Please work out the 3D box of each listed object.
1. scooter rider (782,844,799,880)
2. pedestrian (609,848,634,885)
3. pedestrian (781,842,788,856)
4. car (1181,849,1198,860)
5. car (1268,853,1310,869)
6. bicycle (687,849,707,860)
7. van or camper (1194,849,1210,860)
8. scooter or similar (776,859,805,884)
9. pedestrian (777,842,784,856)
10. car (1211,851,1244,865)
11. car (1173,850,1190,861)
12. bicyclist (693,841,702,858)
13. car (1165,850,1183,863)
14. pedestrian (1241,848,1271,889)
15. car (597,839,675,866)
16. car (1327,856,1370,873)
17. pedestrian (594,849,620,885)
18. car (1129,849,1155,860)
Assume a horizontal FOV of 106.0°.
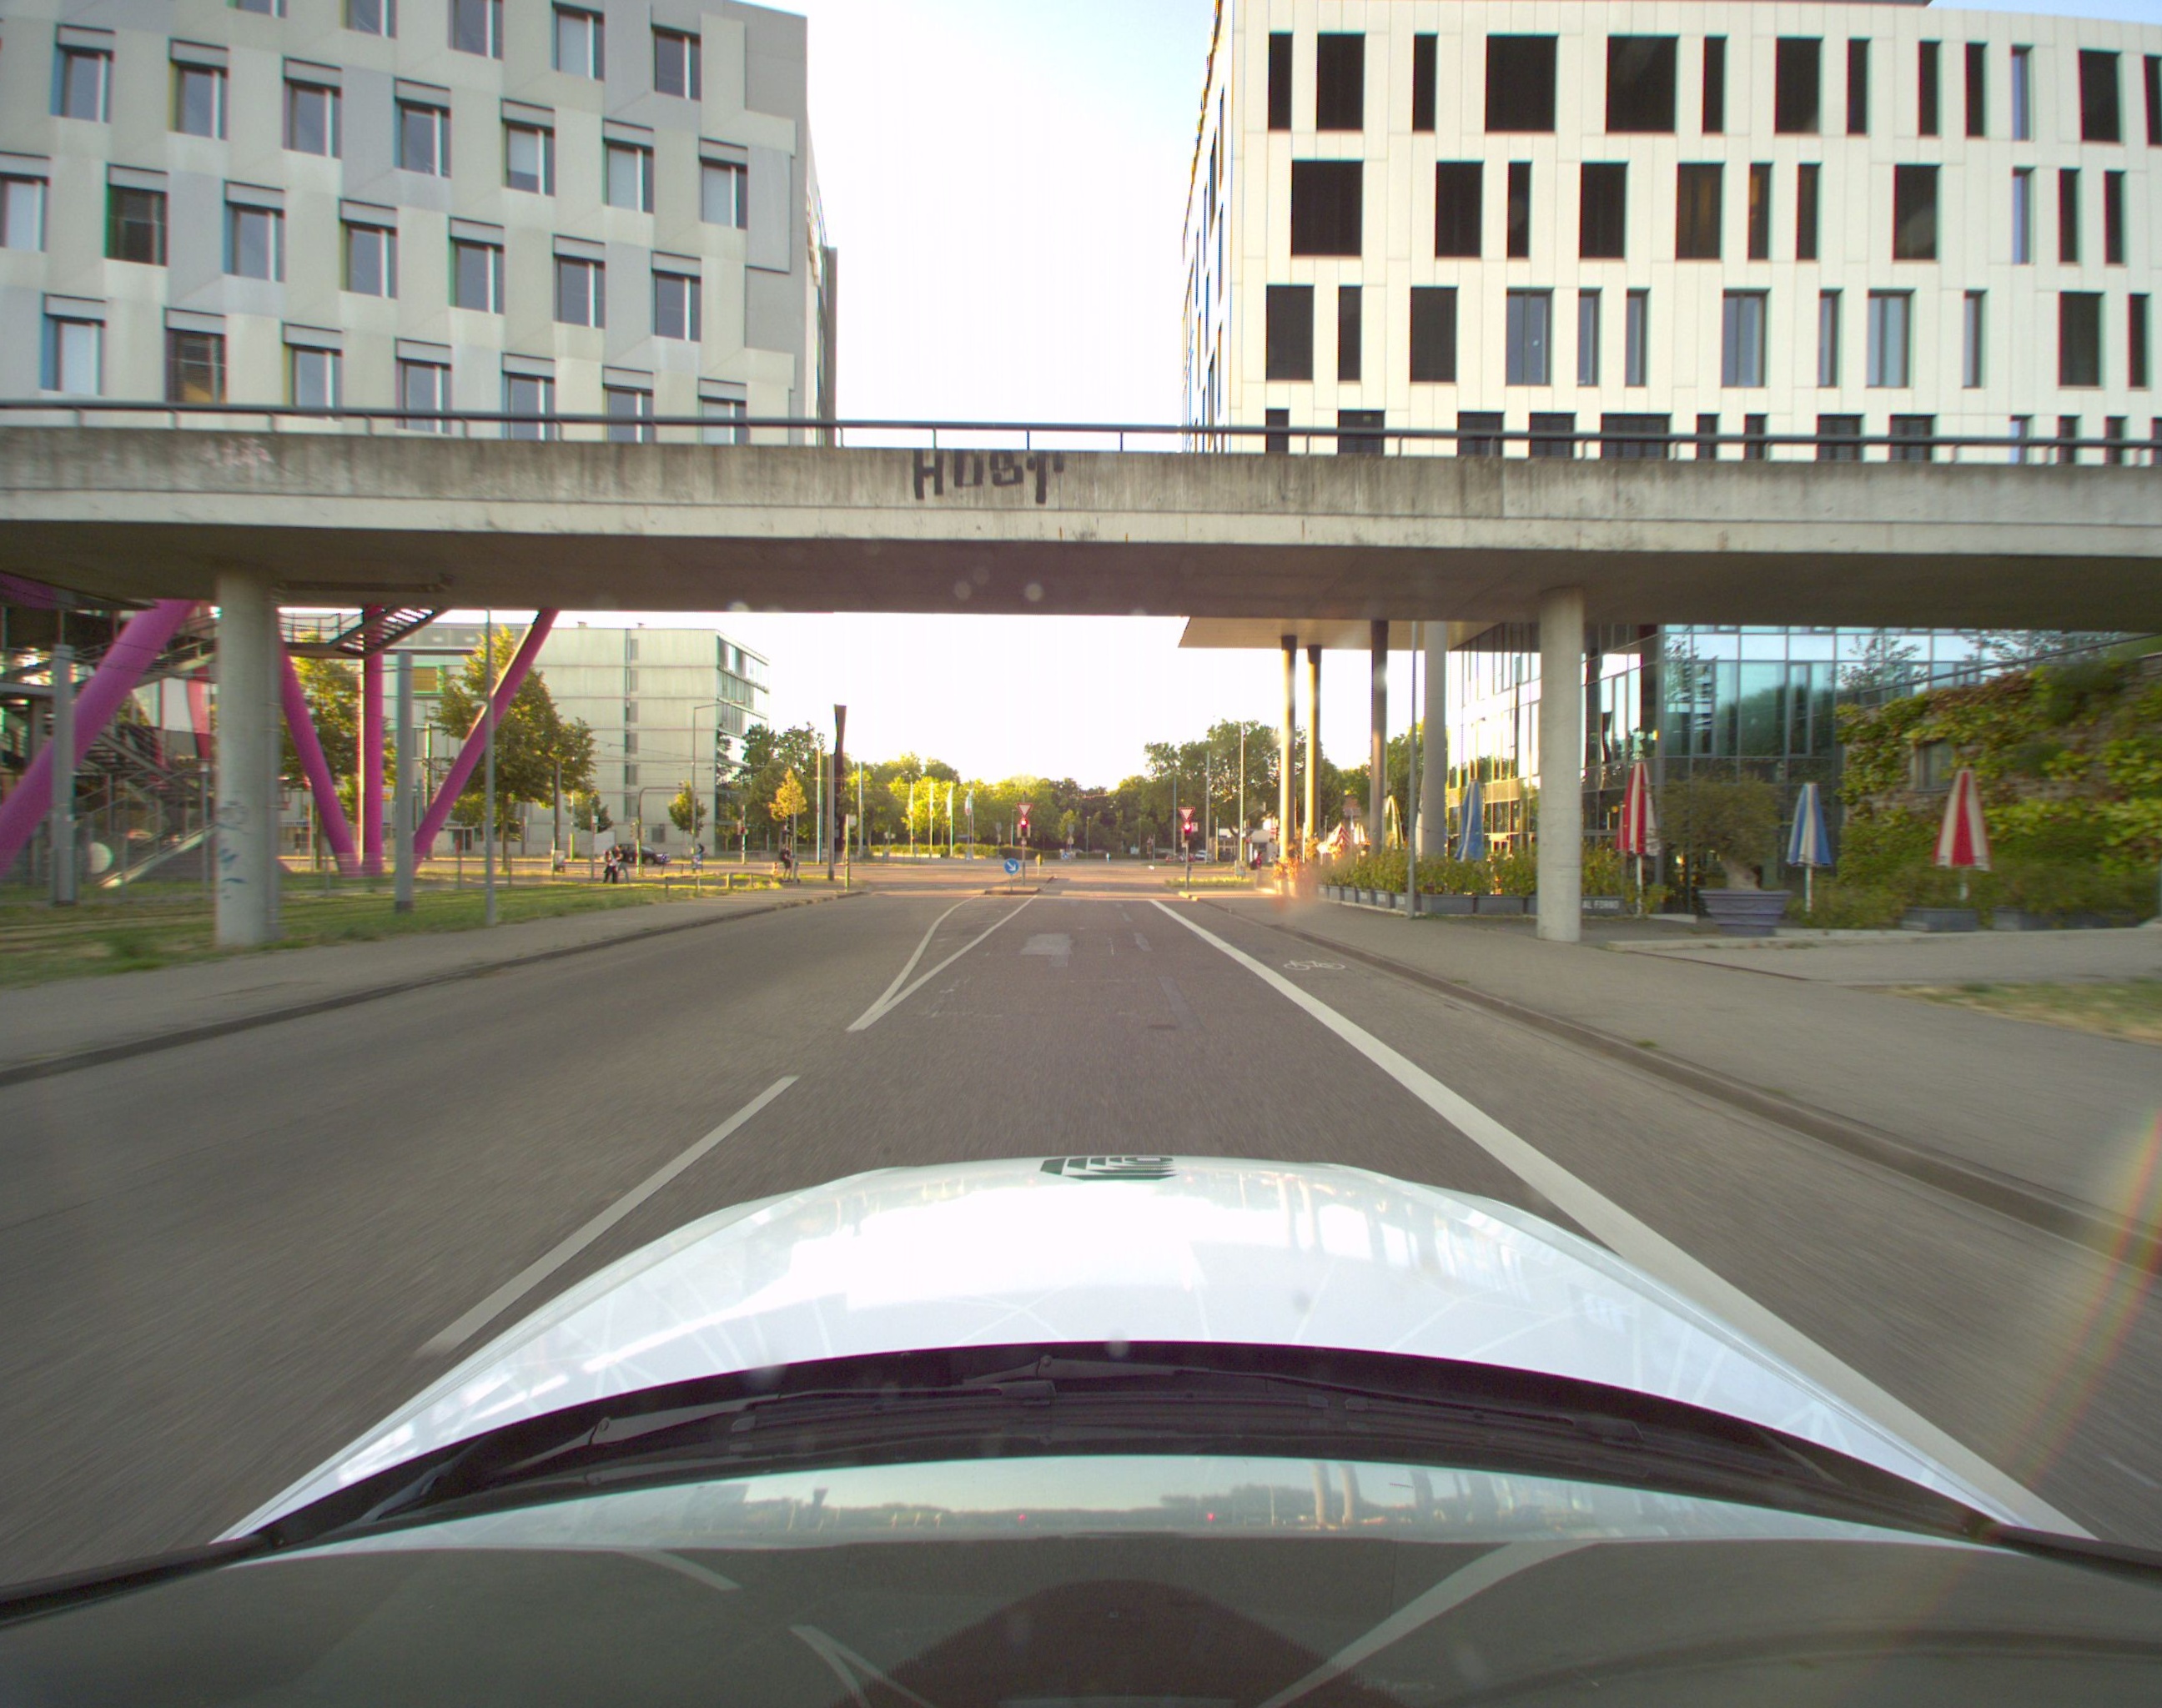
[{"bbox_3d":[-14.238,0.387,39.894,0.704,1.782,0.442,0,1,-3],"label":"scooter rider"},{"bbox_3d":[-21.272,0.577,37.673,0.694,1.664,0.715,1,1,18],"label":"pedestrian"},{"bbox_3d":[-43.566,-0.787,119.686,0.690,2.013,0.702,1,1,21],"label":"pedestrian"},{"bbox_3d":[17.027,0.126,127.523,1.483,1.606,3.424,1,2,28],"label":"car"},{"bbox_3d":[24.493,0.798,96.063,4.448,1.816,1.947,0,1,3],"label":"car"},{"bbox_3d":[-40.845,0.019,86.658,1.971,1.128,0.556,0,1,-24],"label":"bicycle"},{"bbox_3d":[22.996,0.021,155.157,1.609,1.981,3.831,1,2,31],"label":"van or camper"},{"bbox_3d":[-14.228,0.856,39.901,1.210,1.200,0.503,0,1,-3],"label":"scooter or similar"},{"bbox_3d":[-43.848,-0.792,118.890,0.690,2.013,0.702,1,1,21],"label":"pedestrian"},{"bbox_3d":[20.339,0.551,113.187,4.444,1.816,1.949,1,1,6],"label":"car"},{"bbox_3d":[15.321,0.164,123.948,1.483,1.606,3.424,1,2,28],"label":"car"},{"bbox_3d":[-40.814,-0.477,86.664,0.760,1.722,0.548,0,1,-24],"label":"bicyclist"},{"bbox_3d":[13.722,0.355,120.344,1.483,1.760,3.424,1,2,28],"label":"car"},{"bbox_3d":[7.960,0.662,37.056,1.054,1.833,0.892,0,1,-12],"label":"pedestrian"},{"bbox_3d":[-31.979,-0.121,58.627,4.453,1.816,1.945,0,1,-1],"label":"car"},{"bbox_3d":[31.329,1.217,95.374,4.448,1.816,1.947,0,1,3],"label":"car"},{"bbox_3d":[-21.495,0.581,36.931,0.680,1.624,0.715,1,1,18],"label":"pedestrian"},{"bbox_3d":[11.008,0.003,147.180,4.658,1.869,2.017,1,1,7],"label":"car"}]
